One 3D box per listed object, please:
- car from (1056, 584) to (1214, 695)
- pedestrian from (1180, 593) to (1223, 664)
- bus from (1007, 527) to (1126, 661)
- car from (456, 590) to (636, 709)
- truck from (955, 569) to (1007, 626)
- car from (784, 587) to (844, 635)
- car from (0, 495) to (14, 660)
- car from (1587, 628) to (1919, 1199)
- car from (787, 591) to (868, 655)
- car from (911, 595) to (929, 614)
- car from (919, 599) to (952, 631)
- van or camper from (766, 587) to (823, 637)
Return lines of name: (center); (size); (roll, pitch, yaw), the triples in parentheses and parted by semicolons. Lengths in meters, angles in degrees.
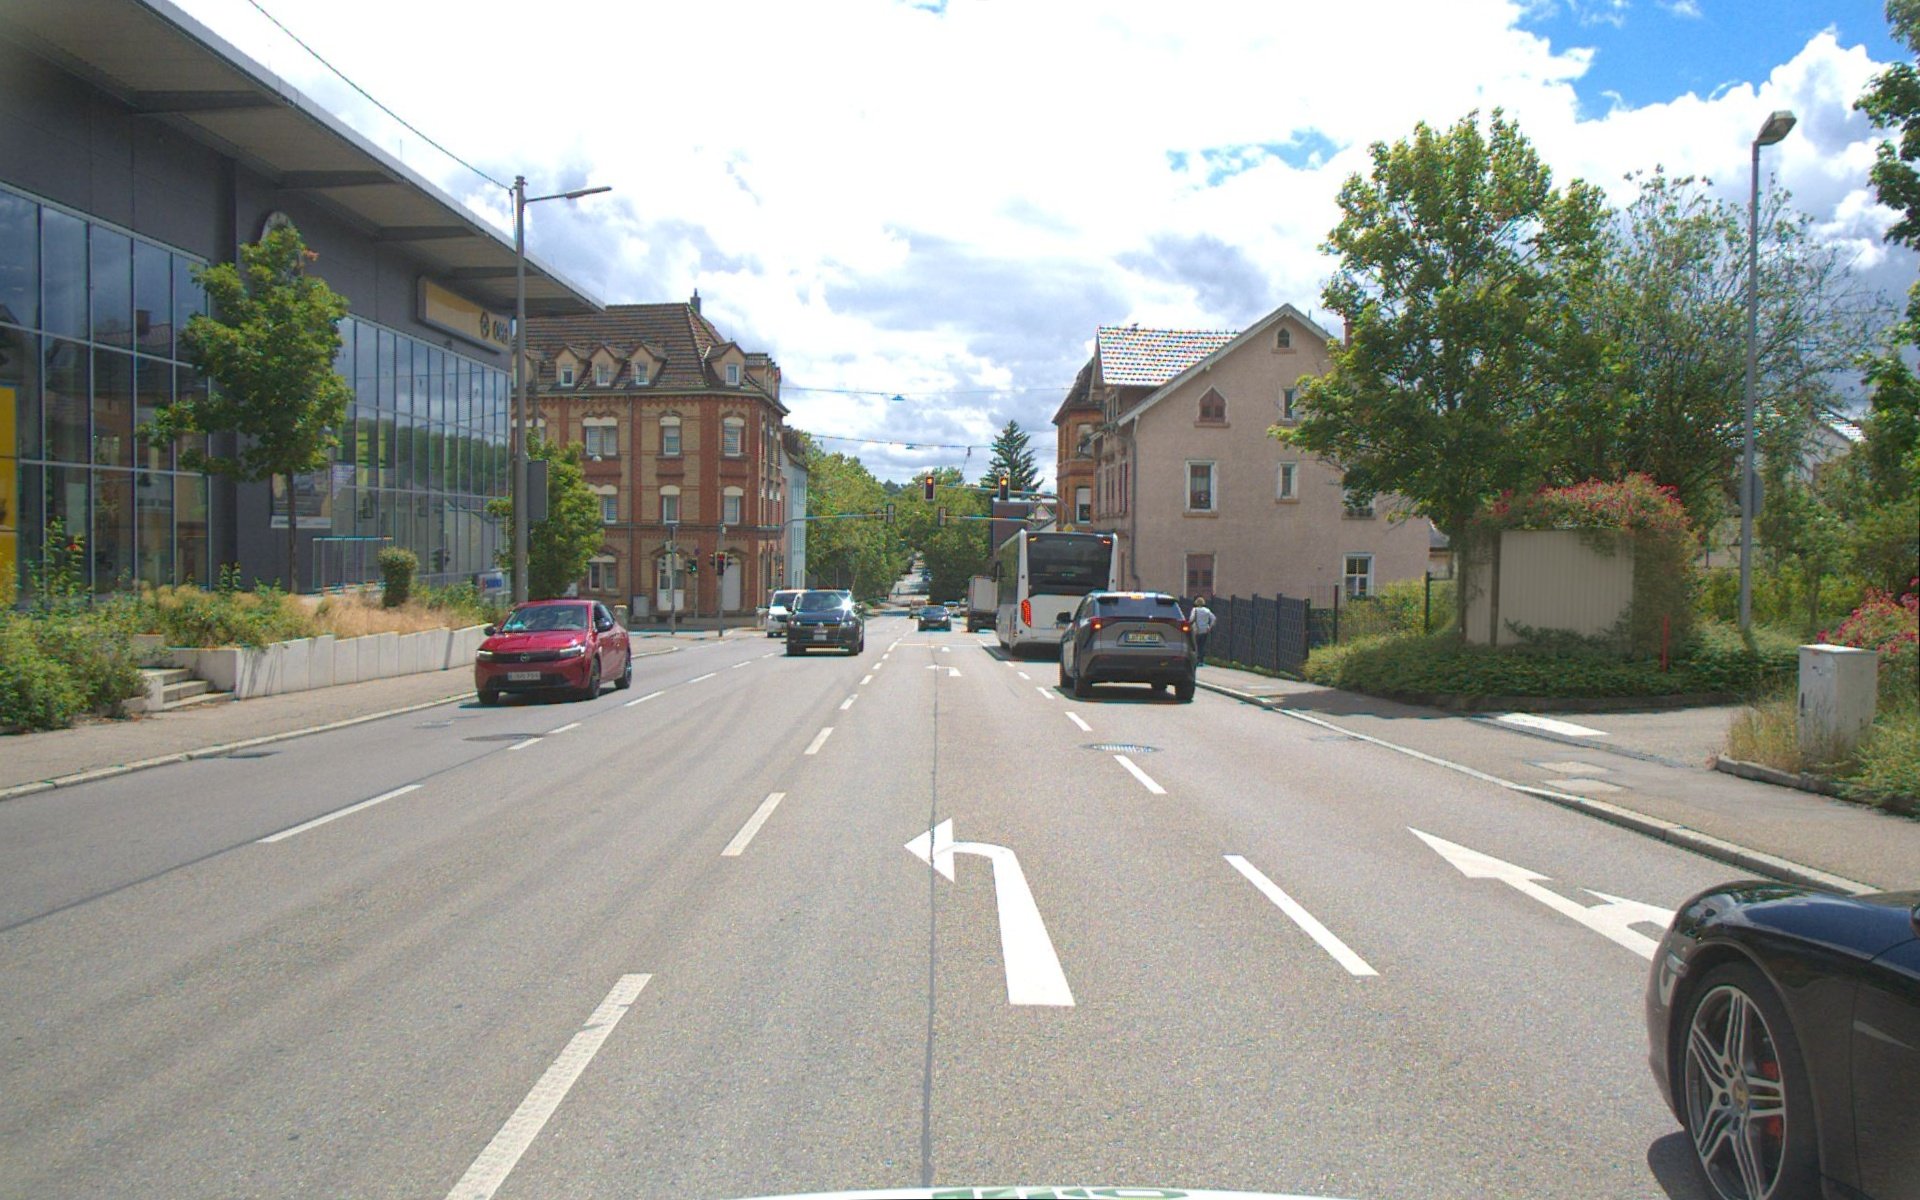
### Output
car: (2.683, 0.568, 26.283); (1.892, 1.610, 4.206); (1, 0, -3)
pedestrian: (5.644, 0.660, 38.662); (0.796, 1.609, 1.069); (-2, 0, -1)
bus: (2.809, -0.422, 47.012); (2.744, 3.253, 12.200); (1, 3, 1)
car: (-6.050, 0.664, 24.590); (1.834, 1.517, 3.846); (-2, 1, -3)
truck: (1.148, -0.155, 97.616); (2.613, 3.162, 9.031); (-1, 0, -2)
car: (-4.914, 0.345, 55.969); (1.827, 1.567, 4.105); (1, 0, -3)
car: (-11.828, -0.192, 15.873); (1.954, 1.728, 4.483); (2, 3, 25)
car: (2.870, 0.883, 2.883); (1.891, 1.400, 4.208); (0, 2, -1)
car: (-3.367, 0.554, 42.613); (1.826, 1.567, 4.105); (1, 0, -2)
car: (-4.169, 0.467, 172.547); (1.795, 1.914, 3.999); (0, 1, -2)
car: (-1.393, 0.824, 92.661); (1.826, 1.695, 4.258); (0, 0, -2)
van or camper: (-6.756, 0.461, 67.933); (1.930, 1.948, 5.127); (1, 0, -2)
